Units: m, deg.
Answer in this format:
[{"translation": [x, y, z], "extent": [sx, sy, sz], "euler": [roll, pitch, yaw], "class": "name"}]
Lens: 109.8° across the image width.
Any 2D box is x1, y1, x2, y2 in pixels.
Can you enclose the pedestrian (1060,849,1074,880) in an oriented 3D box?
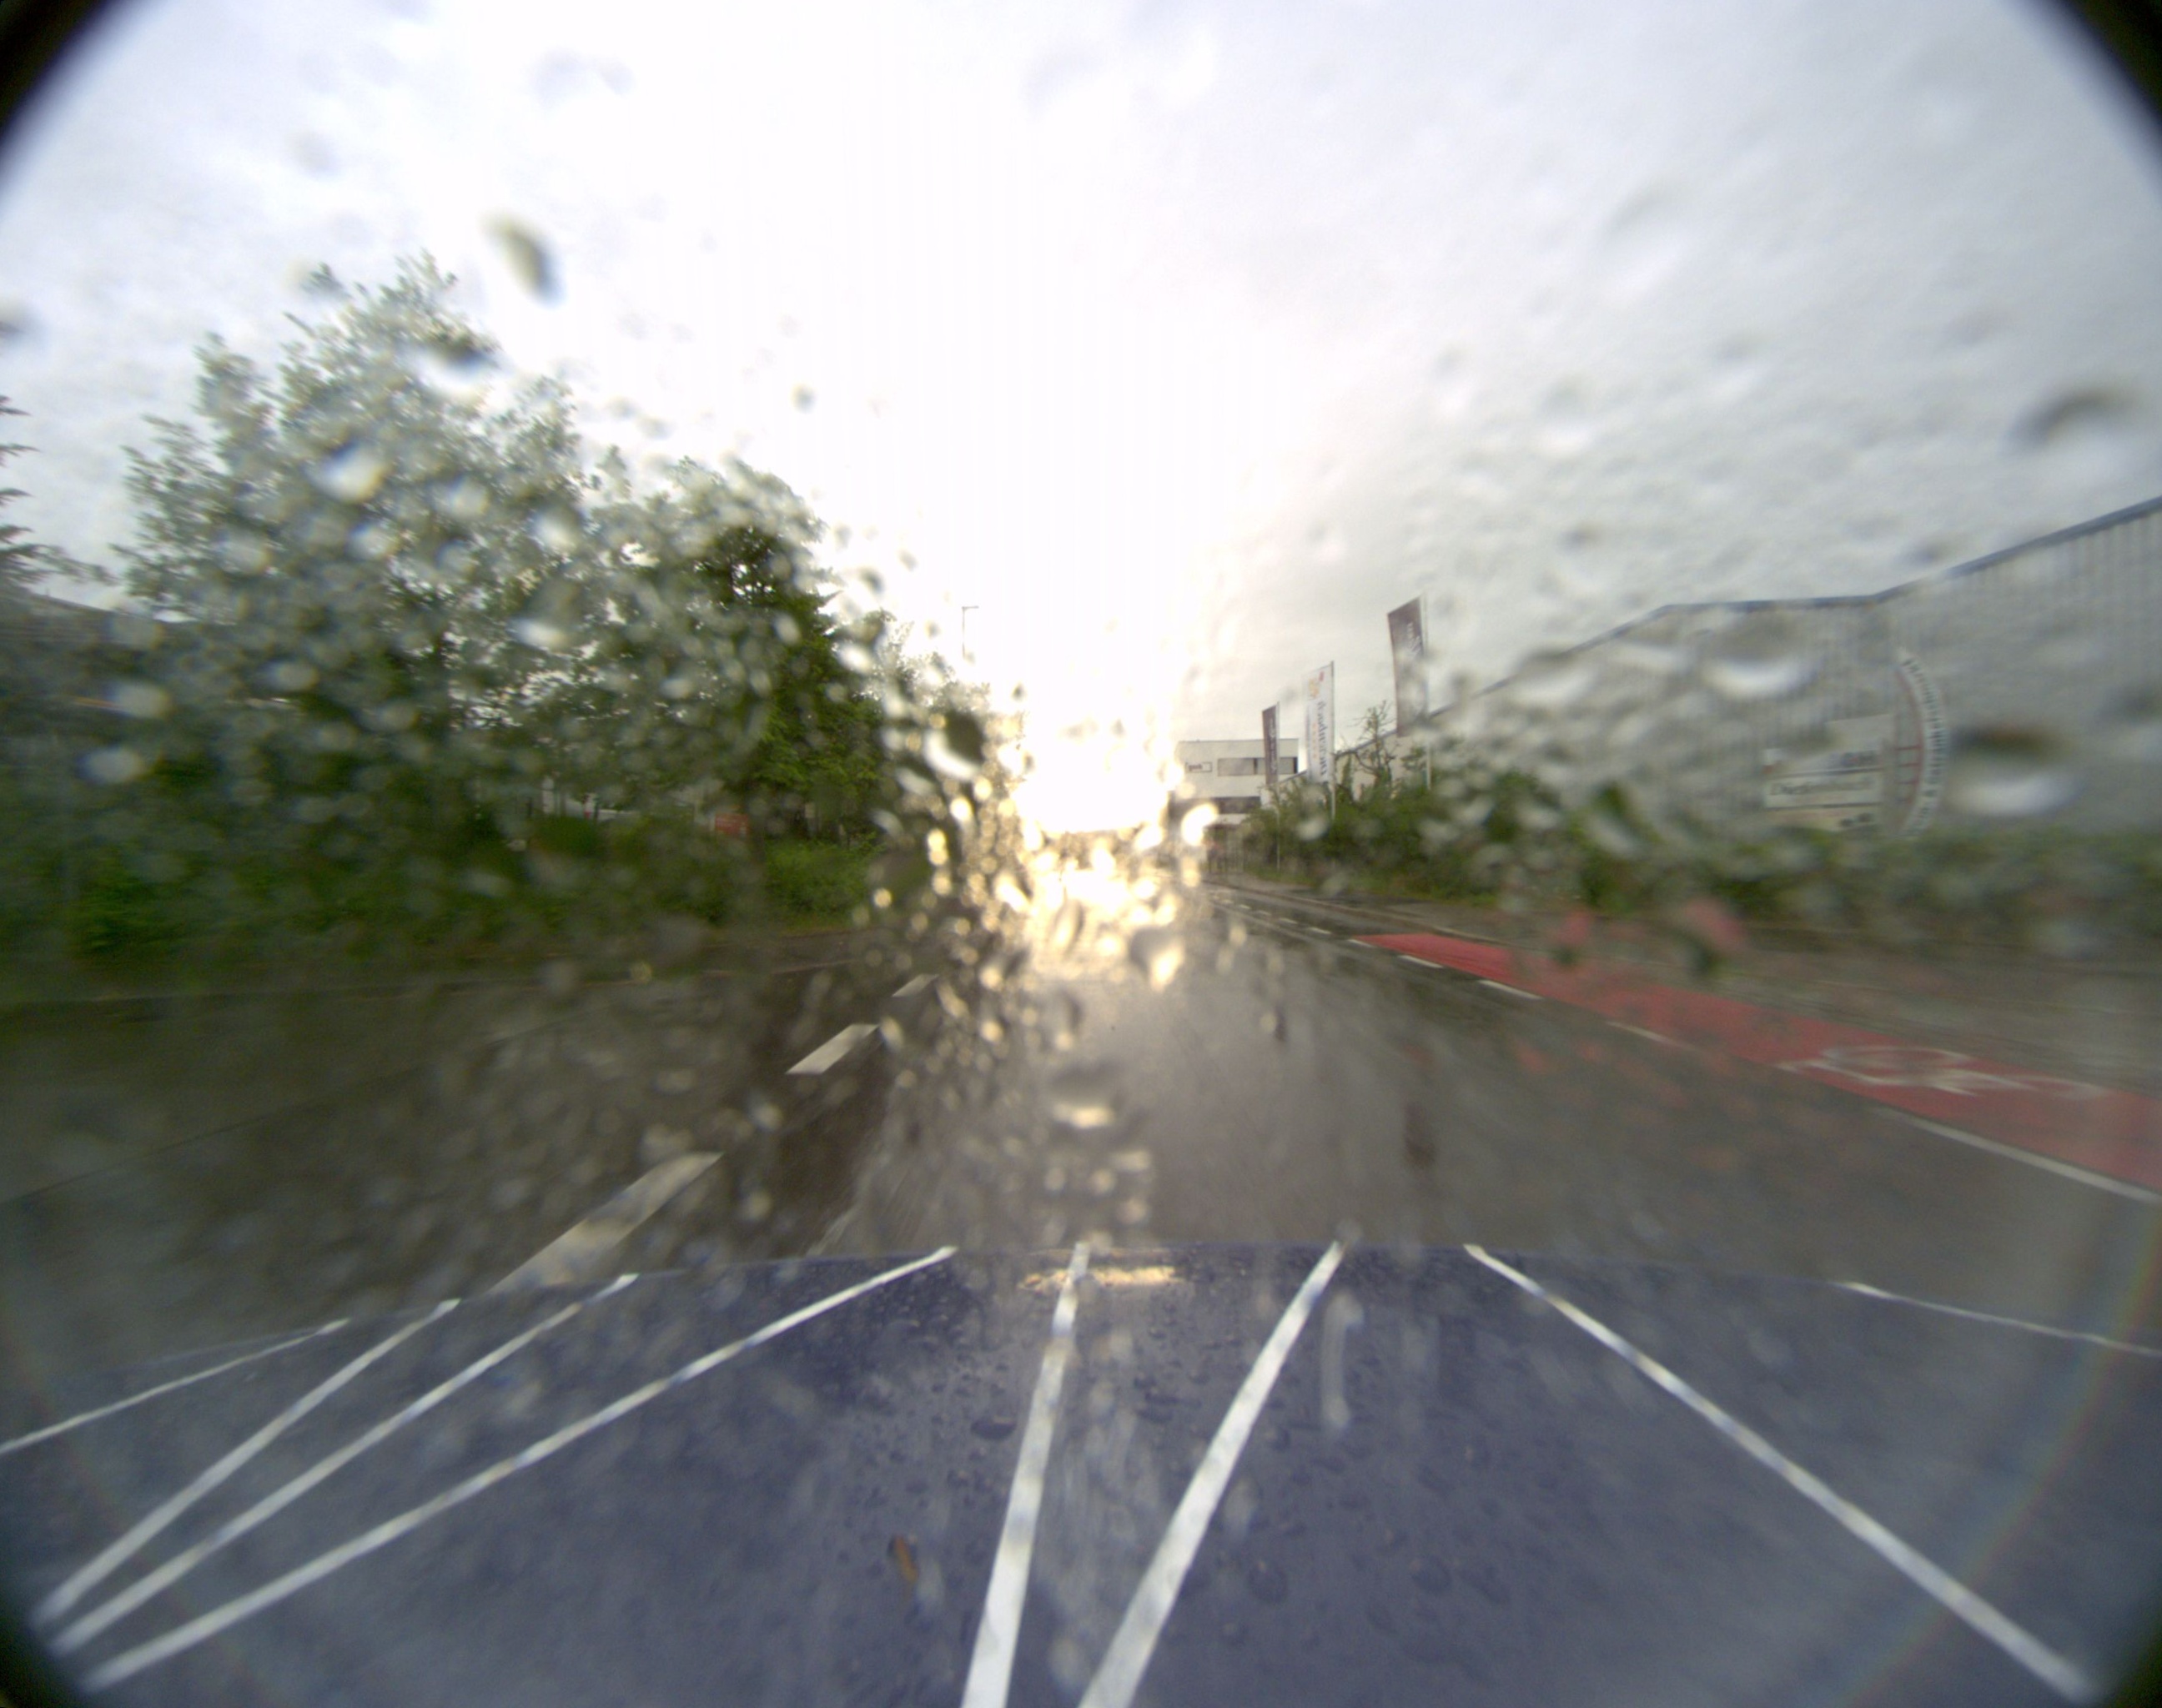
[{"translation": [-0.826, 0.618, 45.085], "extent": [0.747, 1.827, 0.889], "euler": [0, 0, -5], "class": "pedestrian"}]
